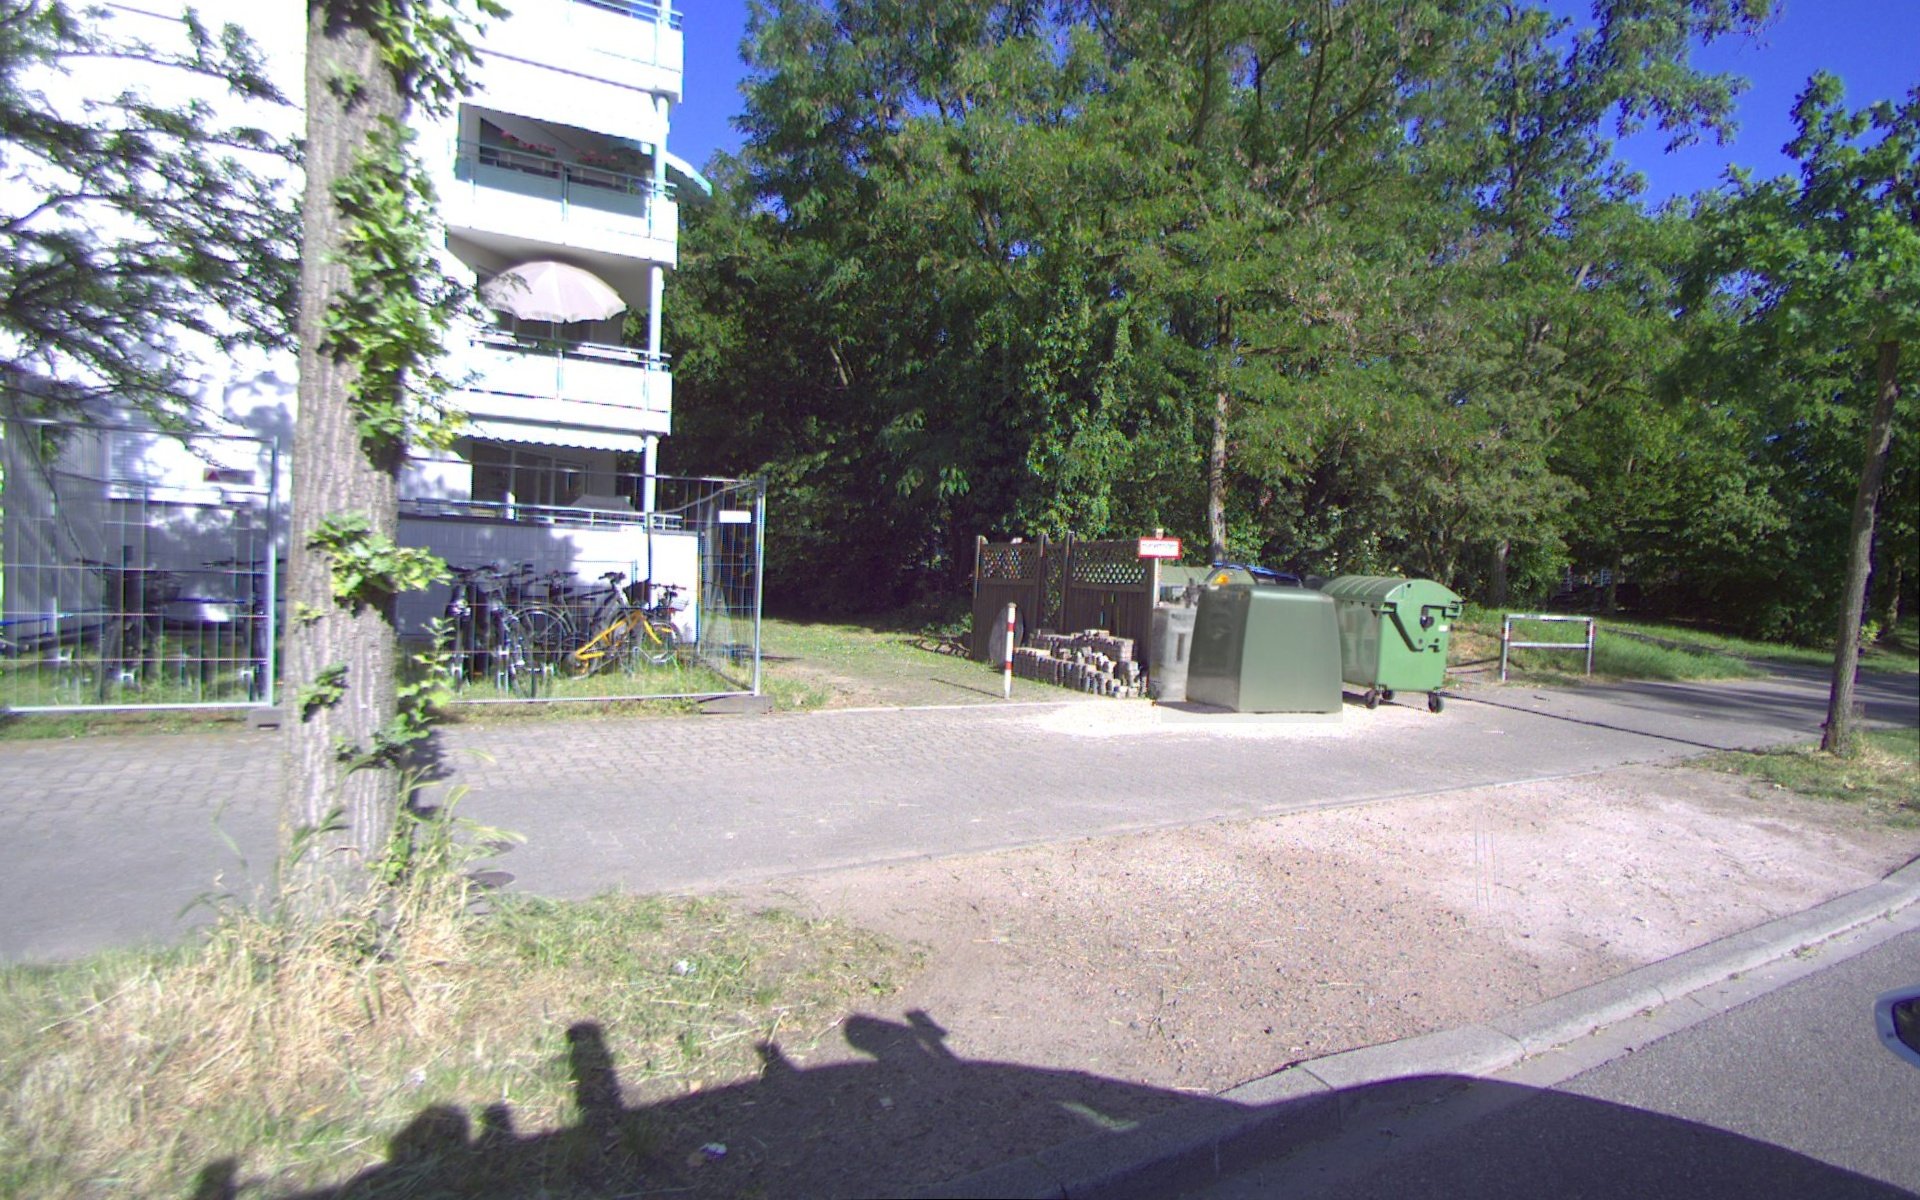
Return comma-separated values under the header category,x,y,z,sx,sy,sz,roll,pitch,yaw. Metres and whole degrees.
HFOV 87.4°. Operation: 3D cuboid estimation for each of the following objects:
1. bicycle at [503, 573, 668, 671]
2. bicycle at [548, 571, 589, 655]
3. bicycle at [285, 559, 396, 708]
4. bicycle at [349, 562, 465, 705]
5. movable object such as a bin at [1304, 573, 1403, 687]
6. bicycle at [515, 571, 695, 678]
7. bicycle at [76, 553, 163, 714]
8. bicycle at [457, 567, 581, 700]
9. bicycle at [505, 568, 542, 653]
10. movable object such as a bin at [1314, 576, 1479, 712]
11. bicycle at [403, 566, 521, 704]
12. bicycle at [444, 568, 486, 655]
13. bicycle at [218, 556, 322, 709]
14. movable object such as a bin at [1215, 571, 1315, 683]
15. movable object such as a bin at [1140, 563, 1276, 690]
category,x,y,z,sx,sy,sz,roll,pitch,yaw
bicycle,-4.200,0.258,11.315,1.680,1.040,0.397,2,1,-29
bicycle,-5.313,0.142,13.579,0.395,1.040,1.690,2,1,-24
bicycle,-4.994,0.222,8.047,0.398,1.040,1.820,2,2,-42
bicycle,-4.649,0.234,8.383,0.398,1.040,1.841,2,2,-42
movable object such as a bin,5.455,0.386,13.874,1.123,1.455,1.272,3,1,26
bicycle,-3.668,0.270,10.447,1.681,1.040,0.397,2,1,-32
bicycle,-6.271,0.194,7.464,0.398,1.040,1.851,2,2,-42
bicycle,-3.984,0.254,8.985,0.398,1.040,1.896,2,2,-42
bicycle,-5.810,0.112,13.347,0.395,1.040,1.690,2,1,-24
movable object such as a bin,4.974,0.473,11.547,1.161,1.455,1.269,2,1,-14
bicycle,-4.330,0.258,8.663,0.398,1.040,1.820,2,2,-42
bicycle,-6.436,0.117,13.096,0.395,1.040,1.690,2,1,-24
bicycle,-5.408,0.206,7.828,0.398,1.040,1.837,2,2,-42
movable object such as a bin,4.337,0.353,14.226,1.123,1.455,1.272,3,1,26
movable object such as a bin,3.051,0.305,12.522,1.300,1.455,1.273,2,1,-2
